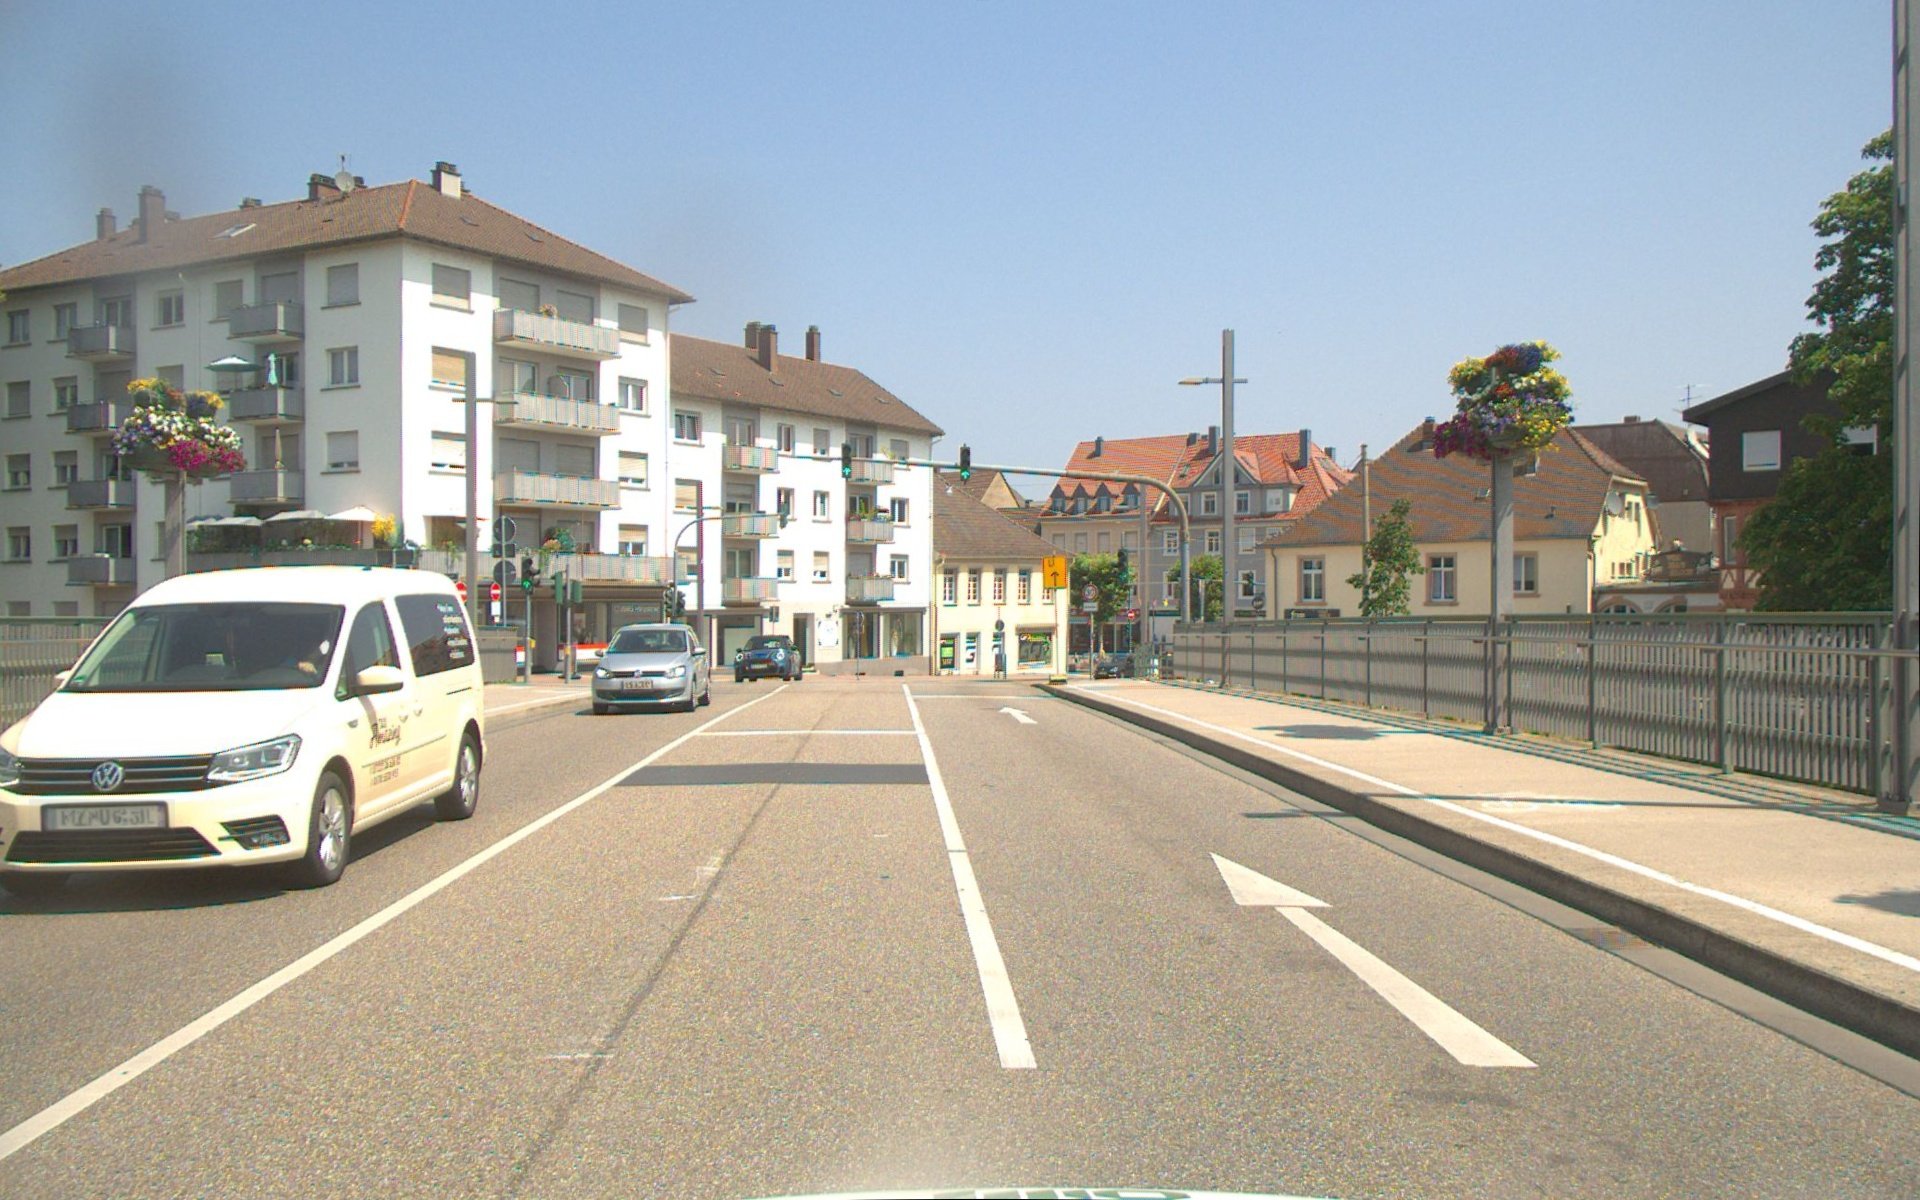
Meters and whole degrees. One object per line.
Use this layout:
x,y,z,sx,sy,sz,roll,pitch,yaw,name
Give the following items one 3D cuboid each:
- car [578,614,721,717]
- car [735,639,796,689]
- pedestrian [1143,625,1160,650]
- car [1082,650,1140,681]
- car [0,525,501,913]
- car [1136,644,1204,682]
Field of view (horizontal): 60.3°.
-5.173,1.049,28.029,1.725,1.545,3.999,-1,0,-1,car
-5.995,1.941,51.297,1.623,1.466,3.753,0,-1,-3,car
15.761,3.056,136.004,1.012,2.015,1.017,1,0,33,pedestrian
8.264,3.544,90.355,1.644,1.514,3.948,-3,-1,29,car
-4.322,0.604,10.539,1.724,1.890,4.643,-1,0,-4,car
10.459,3.096,82.108,1.952,1.641,4.336,0,1,28,car
